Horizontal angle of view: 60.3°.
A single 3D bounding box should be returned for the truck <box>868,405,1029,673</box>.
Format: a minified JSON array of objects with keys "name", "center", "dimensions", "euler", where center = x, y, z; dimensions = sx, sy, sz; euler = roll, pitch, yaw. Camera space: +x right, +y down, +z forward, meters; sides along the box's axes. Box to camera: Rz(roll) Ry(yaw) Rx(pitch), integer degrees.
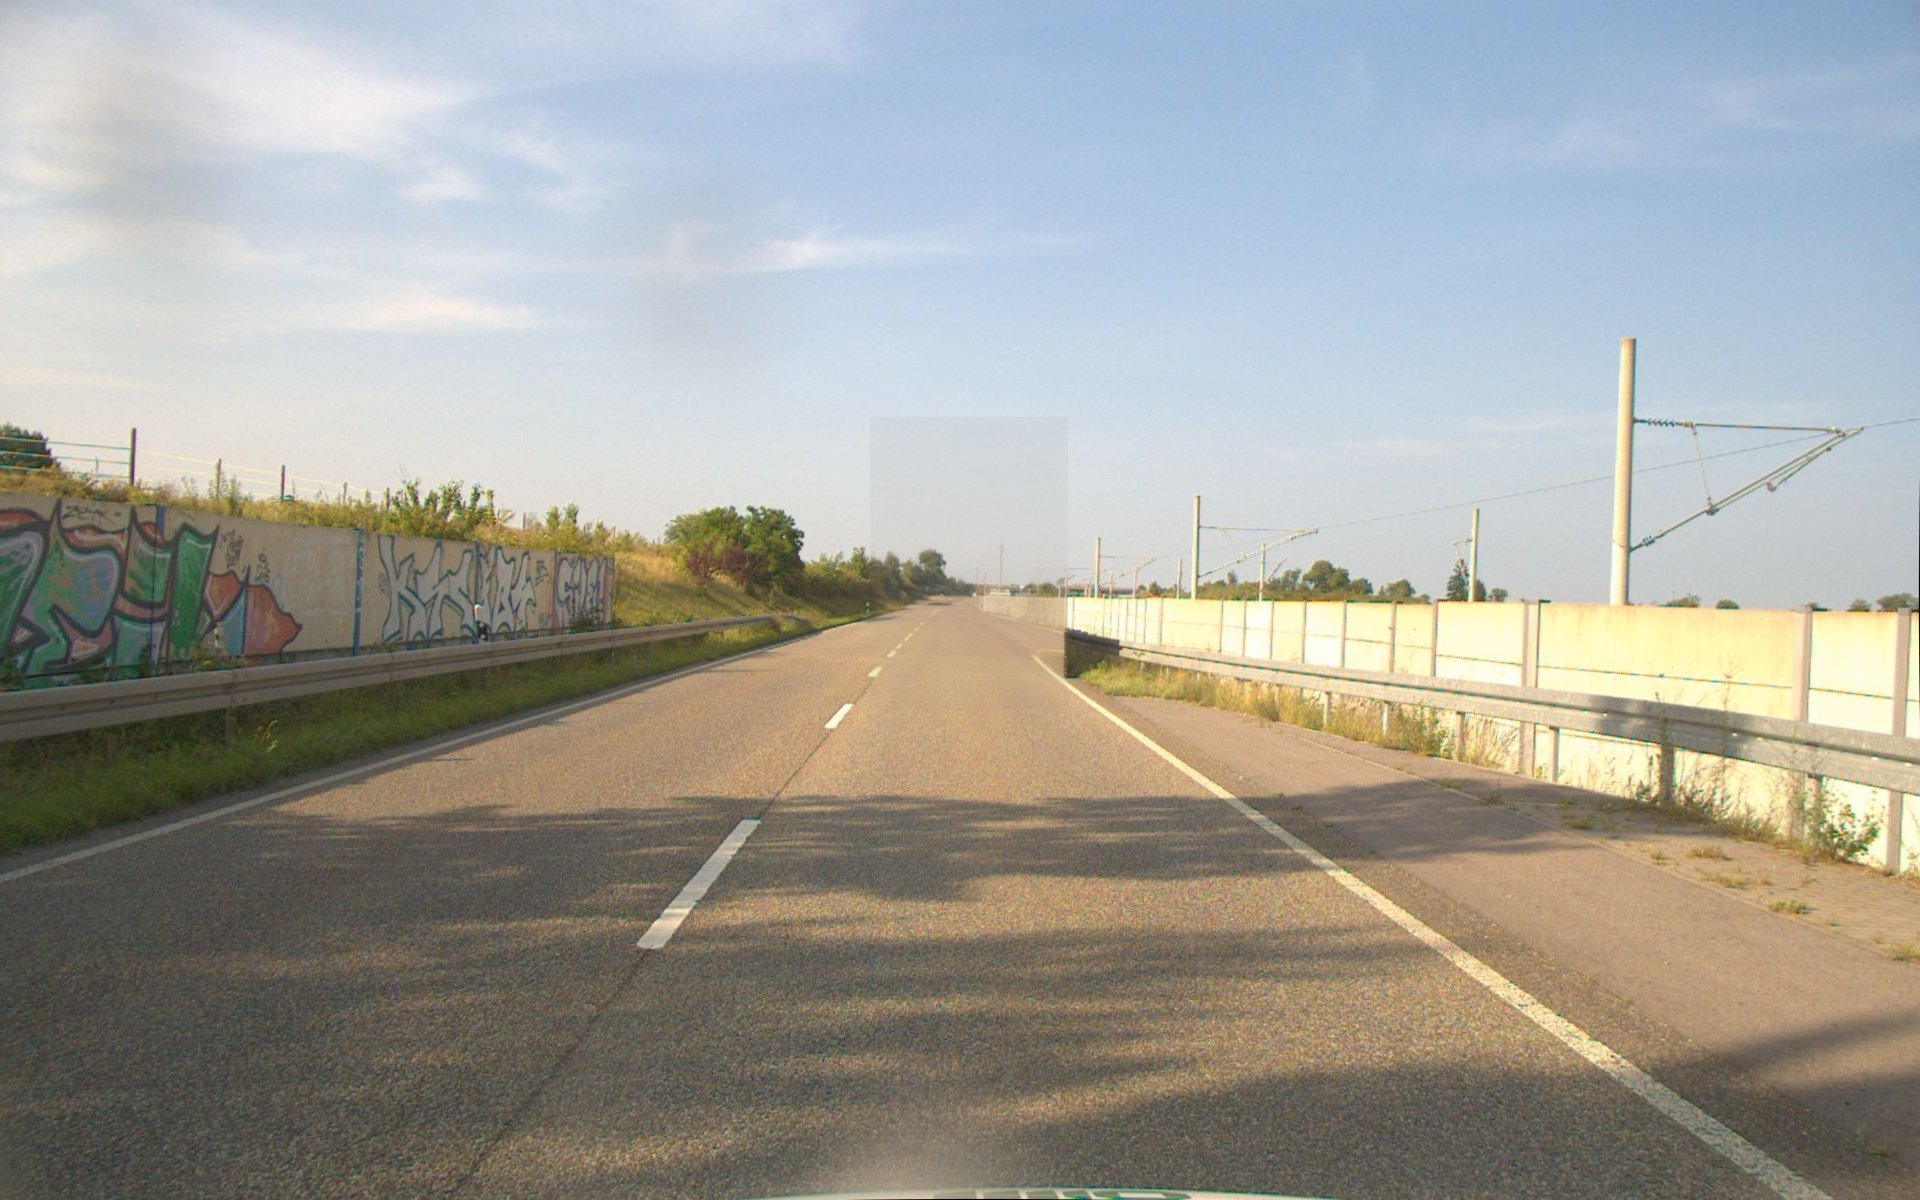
[{"name":"truck","center":[-0.297,-1.189,36.900],"dimensions":[2.971,5.006,11.682],"euler":[1,0,-1]}]
